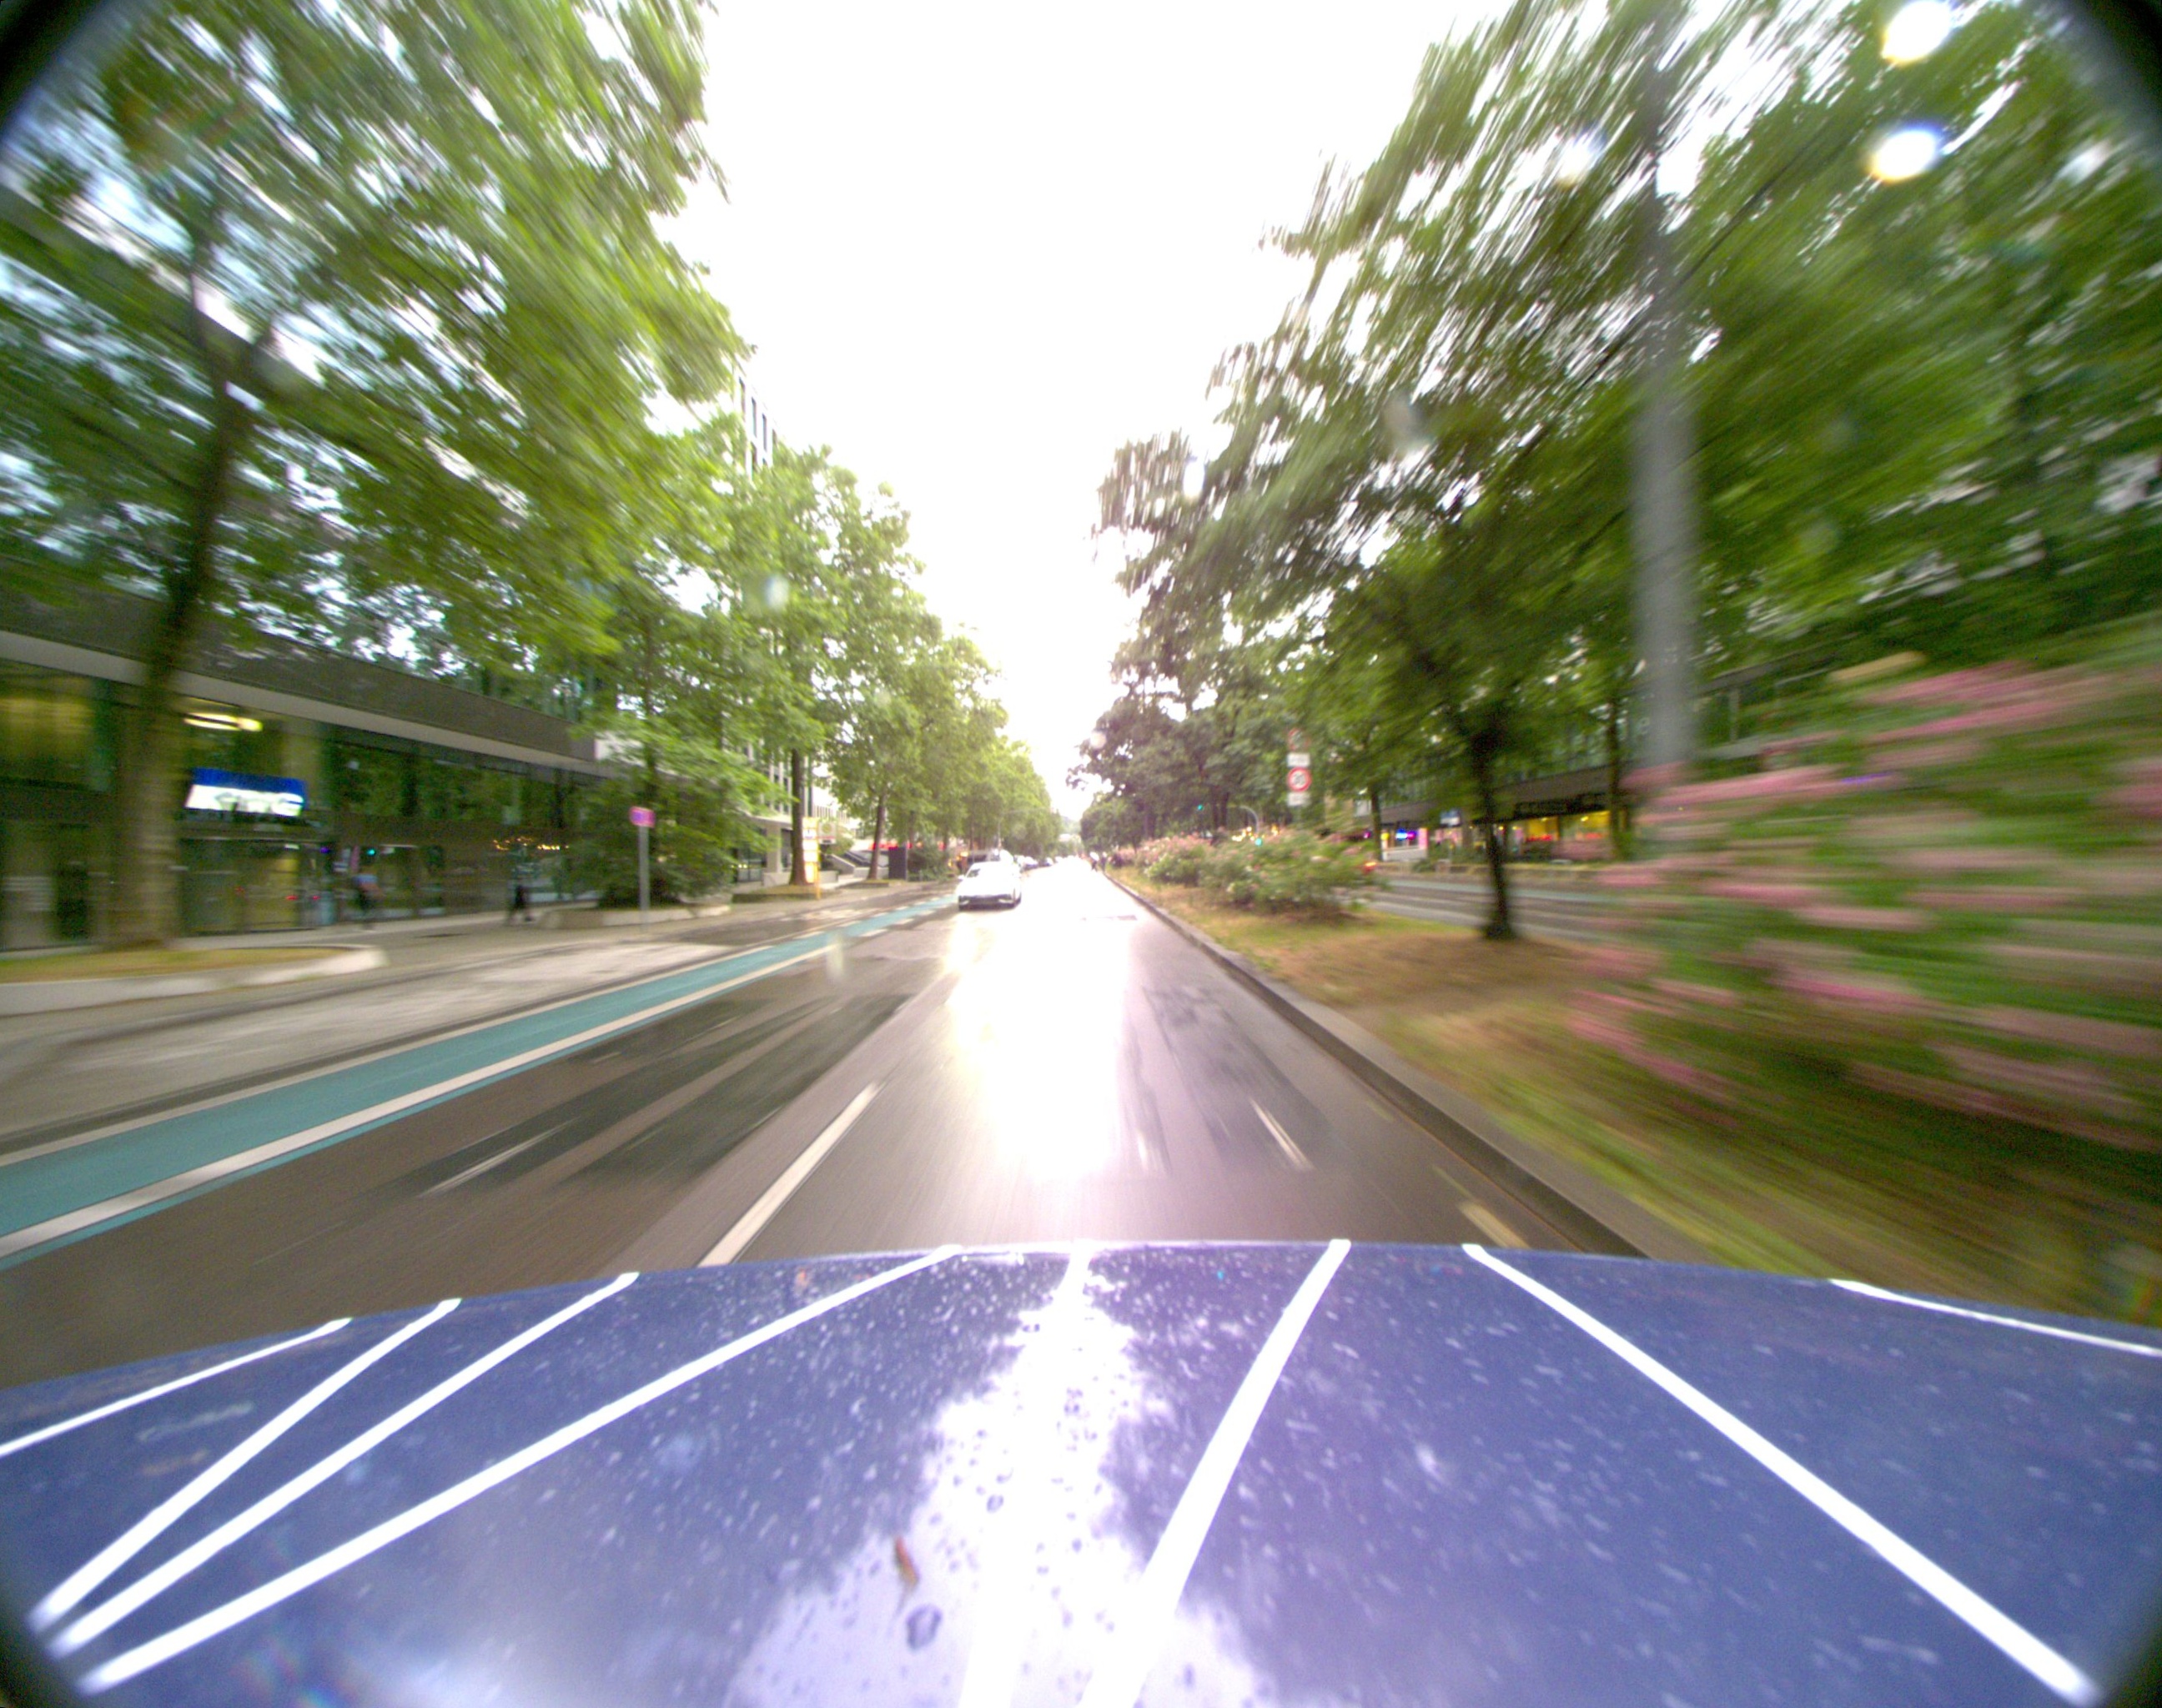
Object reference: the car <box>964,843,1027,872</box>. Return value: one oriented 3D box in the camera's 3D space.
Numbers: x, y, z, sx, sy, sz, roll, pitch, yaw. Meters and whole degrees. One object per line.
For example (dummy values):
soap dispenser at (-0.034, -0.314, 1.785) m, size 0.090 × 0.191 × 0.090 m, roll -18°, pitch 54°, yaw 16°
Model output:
car at (-8.723, 0.389, 76.993) m, size 6.268 × 2.665 × 2.326 m, roll -2°, pitch 1°, yaw 36°

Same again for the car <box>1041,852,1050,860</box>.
car at (-6.647, 0.360, 142.585) m, size 1.598 × 1.517 × 3.425 m, roll -2°, pitch 0°, yaw 0°

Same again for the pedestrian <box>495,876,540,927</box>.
pedestrian at (-17.324, 1.459, 23.370) m, size 0.588 × 1.496 × 1.005 m, roll -1°, pitch 0°, yaw 1°

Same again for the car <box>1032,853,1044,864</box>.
car at (-6.627, 0.667, 118.061) m, size 1.598 × 1.517 × 3.425 m, roll -2°, pitch 0°, yaw 0°

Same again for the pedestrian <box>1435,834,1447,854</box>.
pedestrian at (27.175, -0.748, 57.332) m, size 0.568 × 1.457 × 0.560 m, roll -2°, pitch 1°, yaw -5°

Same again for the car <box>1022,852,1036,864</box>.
car at (-6.832, 0.563, 100.710) m, size 1.598 × 1.517 × 3.425 m, roll -2°, pitch 0°, yaw 0°

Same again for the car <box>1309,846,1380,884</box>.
car at (11.180, 0.433, 32.509) m, size 1.642 × 1.456 × 4.034 m, roll -2°, pitch 0°, yaw 1°

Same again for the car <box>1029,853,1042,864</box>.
car at (-6.632, 0.616, 109.991) m, size 1.598 × 1.517 × 3.425 m, roll -2°, pitch 0°, yaw 0°

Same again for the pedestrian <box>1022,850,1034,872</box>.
pedestrian at (-4.586, 0.635, 65.708) m, size 0.891 × 1.839 × 0.721 m, roll -2°, pitch 1°, yaw 6°

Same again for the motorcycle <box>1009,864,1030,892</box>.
motorcycle at (-2.823, 1.088, 35.107) m, size 0.744 × 1.194 × 2.235 m, roll -2°, pitch 1°, yaw 0°

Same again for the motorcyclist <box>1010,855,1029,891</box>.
motorcyclist at (-2.829, 0.849, 34.985) m, size 0.744 × 1.575 × 1.059 m, roll -2°, pitch 1°, yaw 0°

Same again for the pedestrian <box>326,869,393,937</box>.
pedestrian at (-19.618, 1.310, 20.681) m, size 0.789 × 1.783 × 1.086 m, roll 1°, pitch 0°, yaw -4°

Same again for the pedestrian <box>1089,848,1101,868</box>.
pedestrian at (1.299, 0.397, 70.588) m, size 0.892 × 1.839 × 0.787 m, roll -2°, pitch 1°, yaw -8°

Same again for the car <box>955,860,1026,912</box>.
car at (-2.912, 0.995, 25.278) m, size 1.795 × 1.463 × 3.793 m, roll -2°, pitch 0°, yaw 1°
